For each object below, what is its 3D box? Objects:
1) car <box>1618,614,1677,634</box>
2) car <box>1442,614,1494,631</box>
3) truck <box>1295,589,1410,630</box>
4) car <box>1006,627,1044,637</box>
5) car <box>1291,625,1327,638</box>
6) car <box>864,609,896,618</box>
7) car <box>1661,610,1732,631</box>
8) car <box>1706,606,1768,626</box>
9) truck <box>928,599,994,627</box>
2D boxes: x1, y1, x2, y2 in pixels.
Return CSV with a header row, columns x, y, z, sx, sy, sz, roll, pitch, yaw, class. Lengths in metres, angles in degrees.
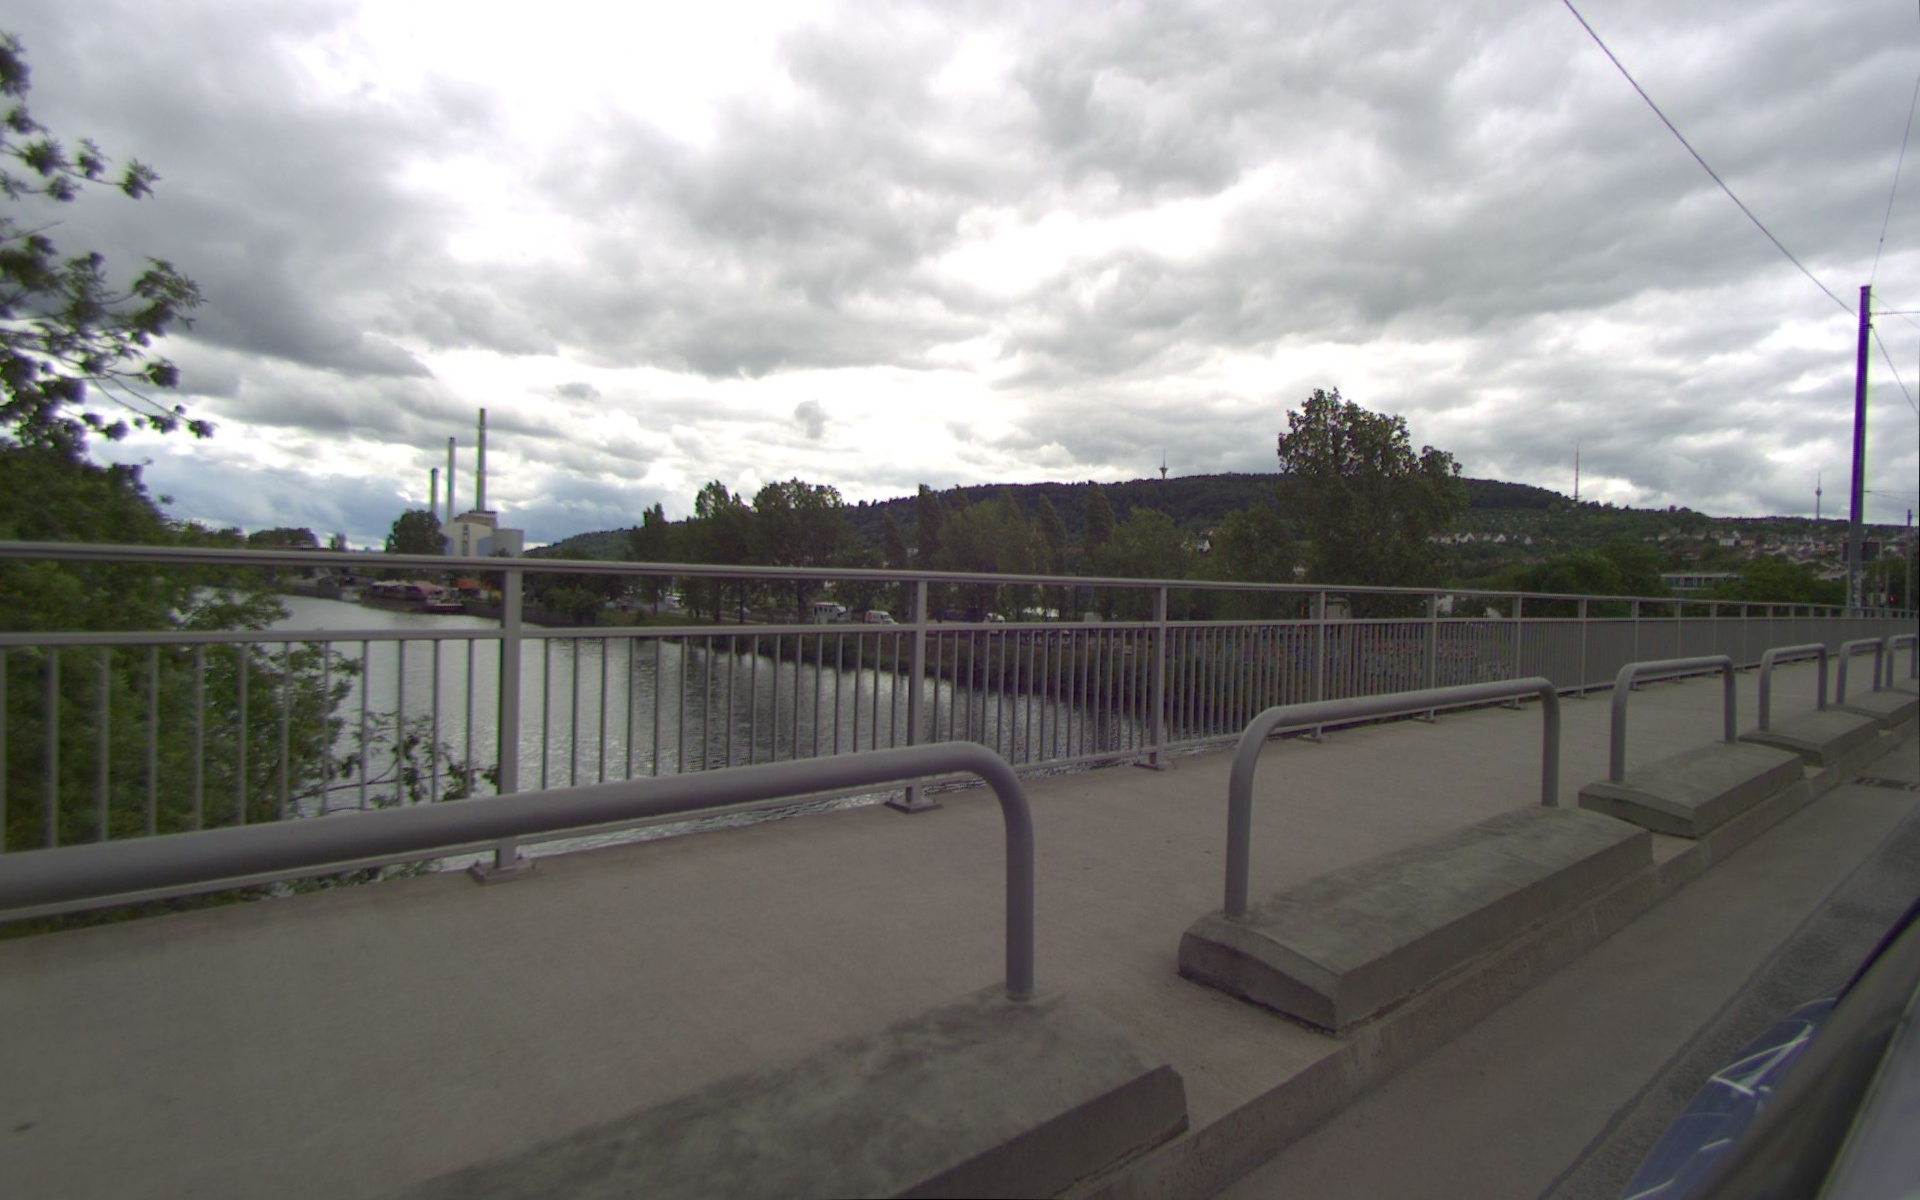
x,y,z,sx,sy,sz,roll,pitch,yaw,class
56.111,1.922,82.629,1.667,1.559,3.752,0,-1,-42,car
46.826,2.060,93.322,1.667,1.559,4.039,0,-1,-42,car
39.393,0.857,101.935,3.173,3.928,10.404,2,-1,-43,truck
10.625,5.233,164.896,2.658,1.559,5.994,0,-1,-45,car
46.370,4.166,134.515,2.246,1.559,4.018,0,-1,-41,car
-14.701,2.476,185.693,2.658,1.559,5.994,0,-1,-45,car
60.460,1.681,83.113,1.965,1.640,4.335,-1,0,-41,car
60.169,1.216,78.403,1.667,1.559,3.616,0,-1,-42,car
0.022,2.270,186.278,3.322,3.964,14.414,2,3,-41,truck
